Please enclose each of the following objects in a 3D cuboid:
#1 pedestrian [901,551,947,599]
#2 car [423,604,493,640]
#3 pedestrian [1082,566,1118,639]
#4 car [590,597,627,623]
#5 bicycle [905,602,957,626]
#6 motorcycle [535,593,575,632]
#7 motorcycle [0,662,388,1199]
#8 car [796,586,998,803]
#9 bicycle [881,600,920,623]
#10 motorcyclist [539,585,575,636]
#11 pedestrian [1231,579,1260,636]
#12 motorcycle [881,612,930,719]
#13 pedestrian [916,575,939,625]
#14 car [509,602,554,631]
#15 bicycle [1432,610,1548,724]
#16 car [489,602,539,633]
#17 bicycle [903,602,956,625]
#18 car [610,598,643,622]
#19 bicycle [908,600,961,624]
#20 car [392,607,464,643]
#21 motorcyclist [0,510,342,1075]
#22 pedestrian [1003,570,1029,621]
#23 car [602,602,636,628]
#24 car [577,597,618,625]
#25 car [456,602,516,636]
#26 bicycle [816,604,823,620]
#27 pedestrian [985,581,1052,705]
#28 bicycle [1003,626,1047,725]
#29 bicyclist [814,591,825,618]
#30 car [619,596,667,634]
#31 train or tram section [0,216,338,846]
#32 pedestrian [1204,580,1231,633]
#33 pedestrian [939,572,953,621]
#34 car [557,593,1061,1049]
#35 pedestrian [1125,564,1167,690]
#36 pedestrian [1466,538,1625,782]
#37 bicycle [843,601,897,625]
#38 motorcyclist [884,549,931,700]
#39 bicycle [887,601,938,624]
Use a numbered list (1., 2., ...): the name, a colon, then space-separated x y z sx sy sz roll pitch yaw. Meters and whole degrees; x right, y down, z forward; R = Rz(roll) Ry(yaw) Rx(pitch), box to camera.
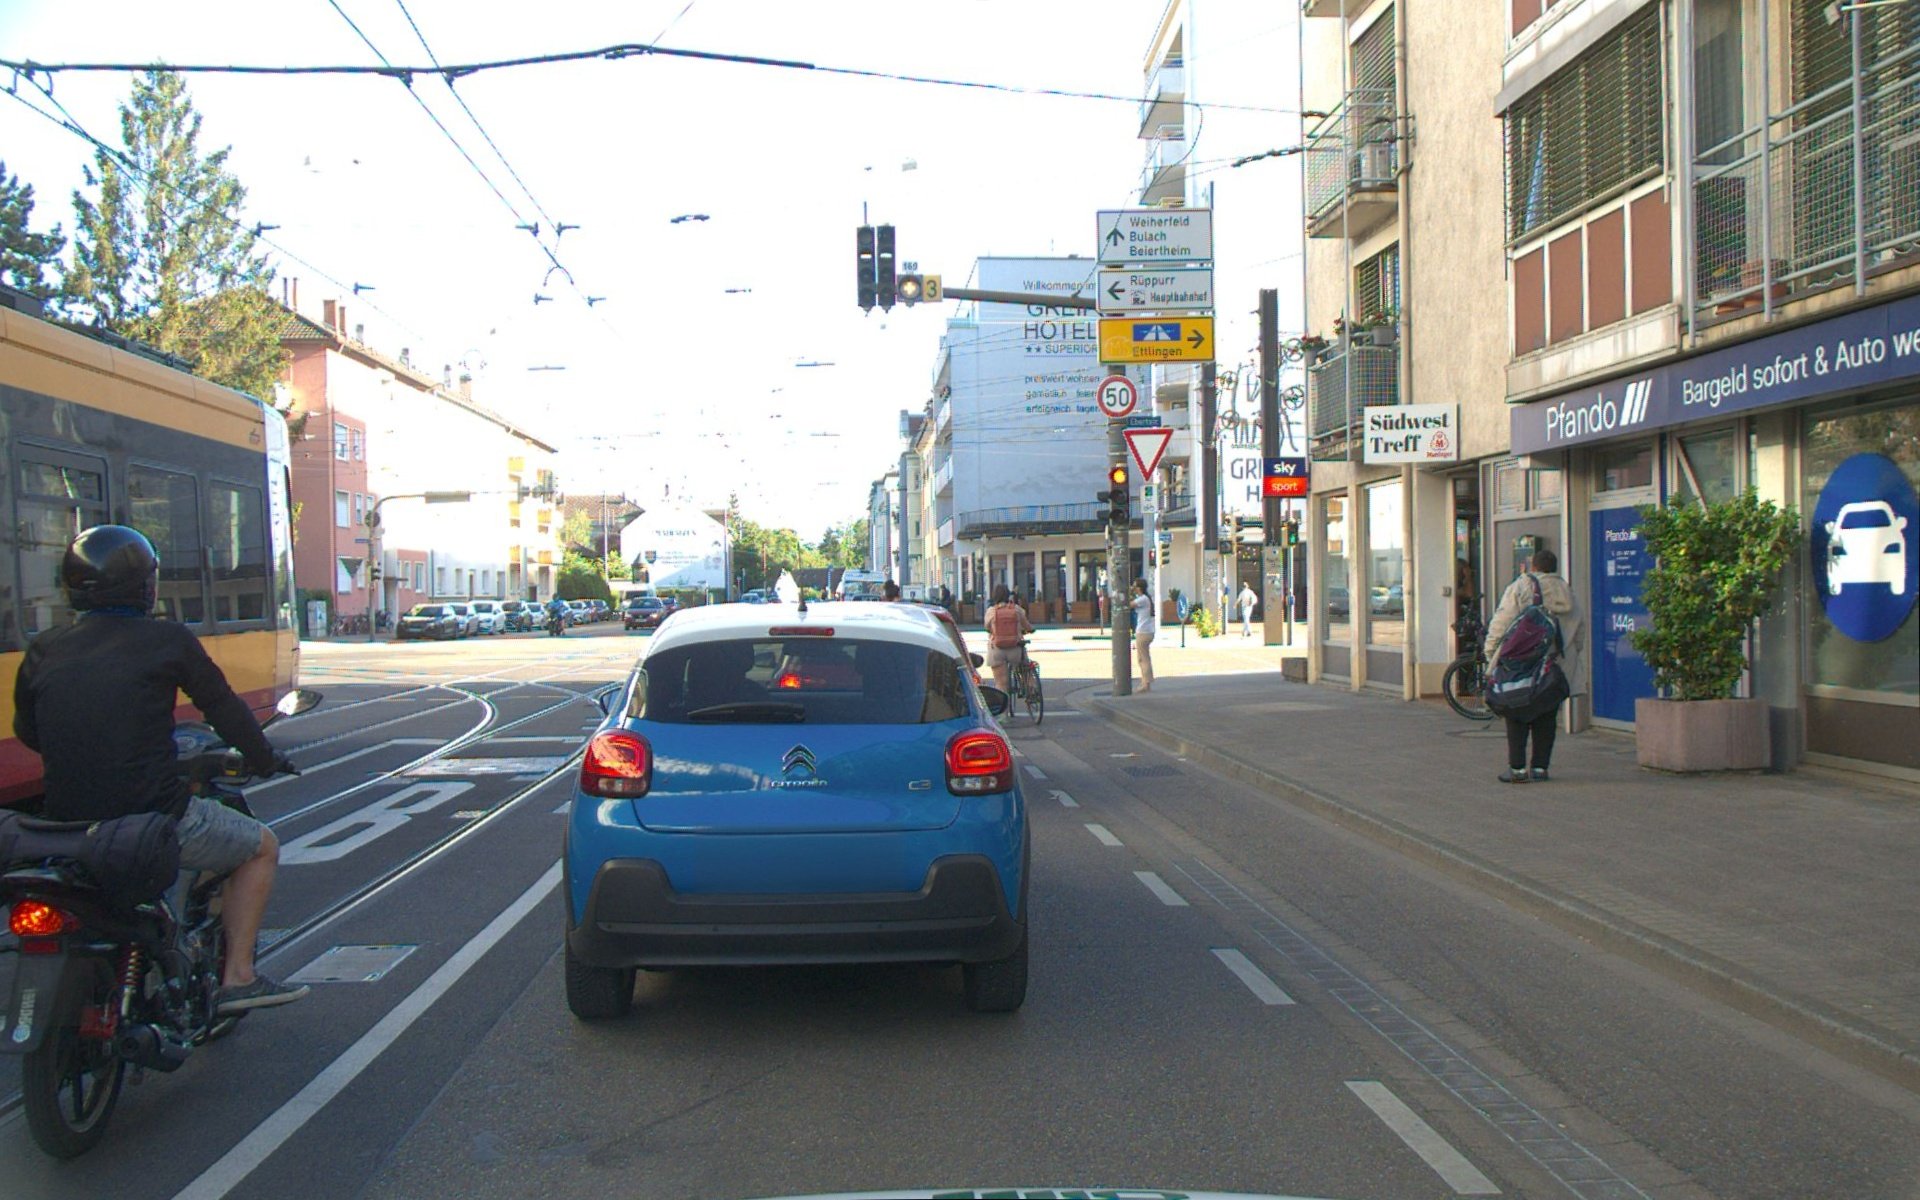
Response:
1. pedestrian: -1.605 -1.085 73.534 1.953 2.049 3.999 1 0 -1
2. car: -22.094 0.955 72.937 1.778 1.524 4.299 1 0 -1
3. pedestrian: 3.974 0.068 46.980 0.907 2.049 0.759 1 -1 -1
4. car: -23.558 0.678 110.952 1.845 1.716 3.997 1 0 -4
5. bicycle: -1.177 0.571 67.201 2.093 0.917 0.366 1 -1 -10
6. motorcycle: -16.326 0.493 66.785 0.905 1.512 3.723 1 0 -4
7. motorcycle: -2.318 0.842 4.953 0.526 1.240 1.980 1 0 -1
8. car: -0.464 0.672 13.082 1.395 1.493 2.923 -1 0 -1
9. bicycle: -2.485 0.483 69.294 1.751 0.917 0.365 1 -1 34
10. motorcyclist: -16.315 0.410 67.004 1.162 2.049 1.274 -1 0 -4
11. pedestrian: 8.524 0.218 49.360 0.736 1.686 0.884 1 -1 15
12. motorcycle: -0.622 0.731 19.426 0.515 1.159 2.289 1 0 -1
13. pedestrian: -1.365 -0.008 69.208 0.625 2.049 0.715 1 -1 -37
14. car: -23.741 0.916 91.778 1.699 1.524 3.996 1 0 -5
15. bicycle: 5.042 0.609 15.828 0.531 1.016 1.705 1 0 -1
16. car: -23.073 0.882 85.671 1.750 1.524 3.997 1 0 -4
17. bicycle: -1.248 0.550 67.632 2.093 0.917 0.366 1 -1 -10
18. car: -24.349 0.706 120.939 1.809 1.716 3.871 1 0 -4
19. bicycle: -1.021 0.481 65.876 2.093 0.917 0.366 1 -1 -10
20. car: -21.984 1.009 68.460 1.757 1.446 3.994 1 0 -2
21. motorcyclist: -2.345 0.526 4.812 0.843 1.531 0.598 1 -1 -1
22. pedestrian: 2.250 -0.177 66.946 0.706 2.049 0.747 1 -1 -43
23. car: -23.927 1.052 116.244 1.797 1.716 3.997 1 0 -4
24. car: -23.211 0.699 106.055 1.944 1.716 3.997 1 0 -4
25. car: -22.588 0.883 78.889 1.751 1.537 4.148 1 0 -2
26. bicycle: -7.872 0.665 92.745 0.342 0.919 1.858 1 0 -2
27. pedestrian: 0.707 0.516 20.226 0.761 1.486 0.681 1 -1 -1
28. bicycle: 0.792 0.904 20.530 0.419 1.142 1.998 1 0 -1
29. bicyclist: -7.862 0.244 92.579 0.550 1.503 0.747 1 -1 -7
30. car: -14.566 0.686 76.168 1.740 1.695 3.853 1 0 -4
31. train or tram section: -7.027 -0.415 10.015 2.692 3.695 14.243 1 0 -7
32. pedestrian: 7.988 0.204 51.287 0.721 1.629 0.749 1 -1 0
33. pedestrian: -0.601 -0.161 70.180 0.565 2.049 0.625 1 -1 -3
34. car: -0.516 0.732 7.175 1.620 1.469 3.522 1 0 -1
35. pedestrian: 2.717 0.393 24.222 0.507 1.814 0.595 1 -1 -3
36. pedestrian: 4.038 0.404 11.457 0.808 1.620 0.751 1 -1 -1
37. bicycle: -3.602 0.525 66.159 2.093 0.917 0.366 1 -1 -10
38. motorcyclist: -0.614 0.289 19.616 0.516 1.746 0.717 1 -1 -1
39. bicycle: -1.969 0.500 68.316 2.093 0.917 0.366 1 -1 -10
